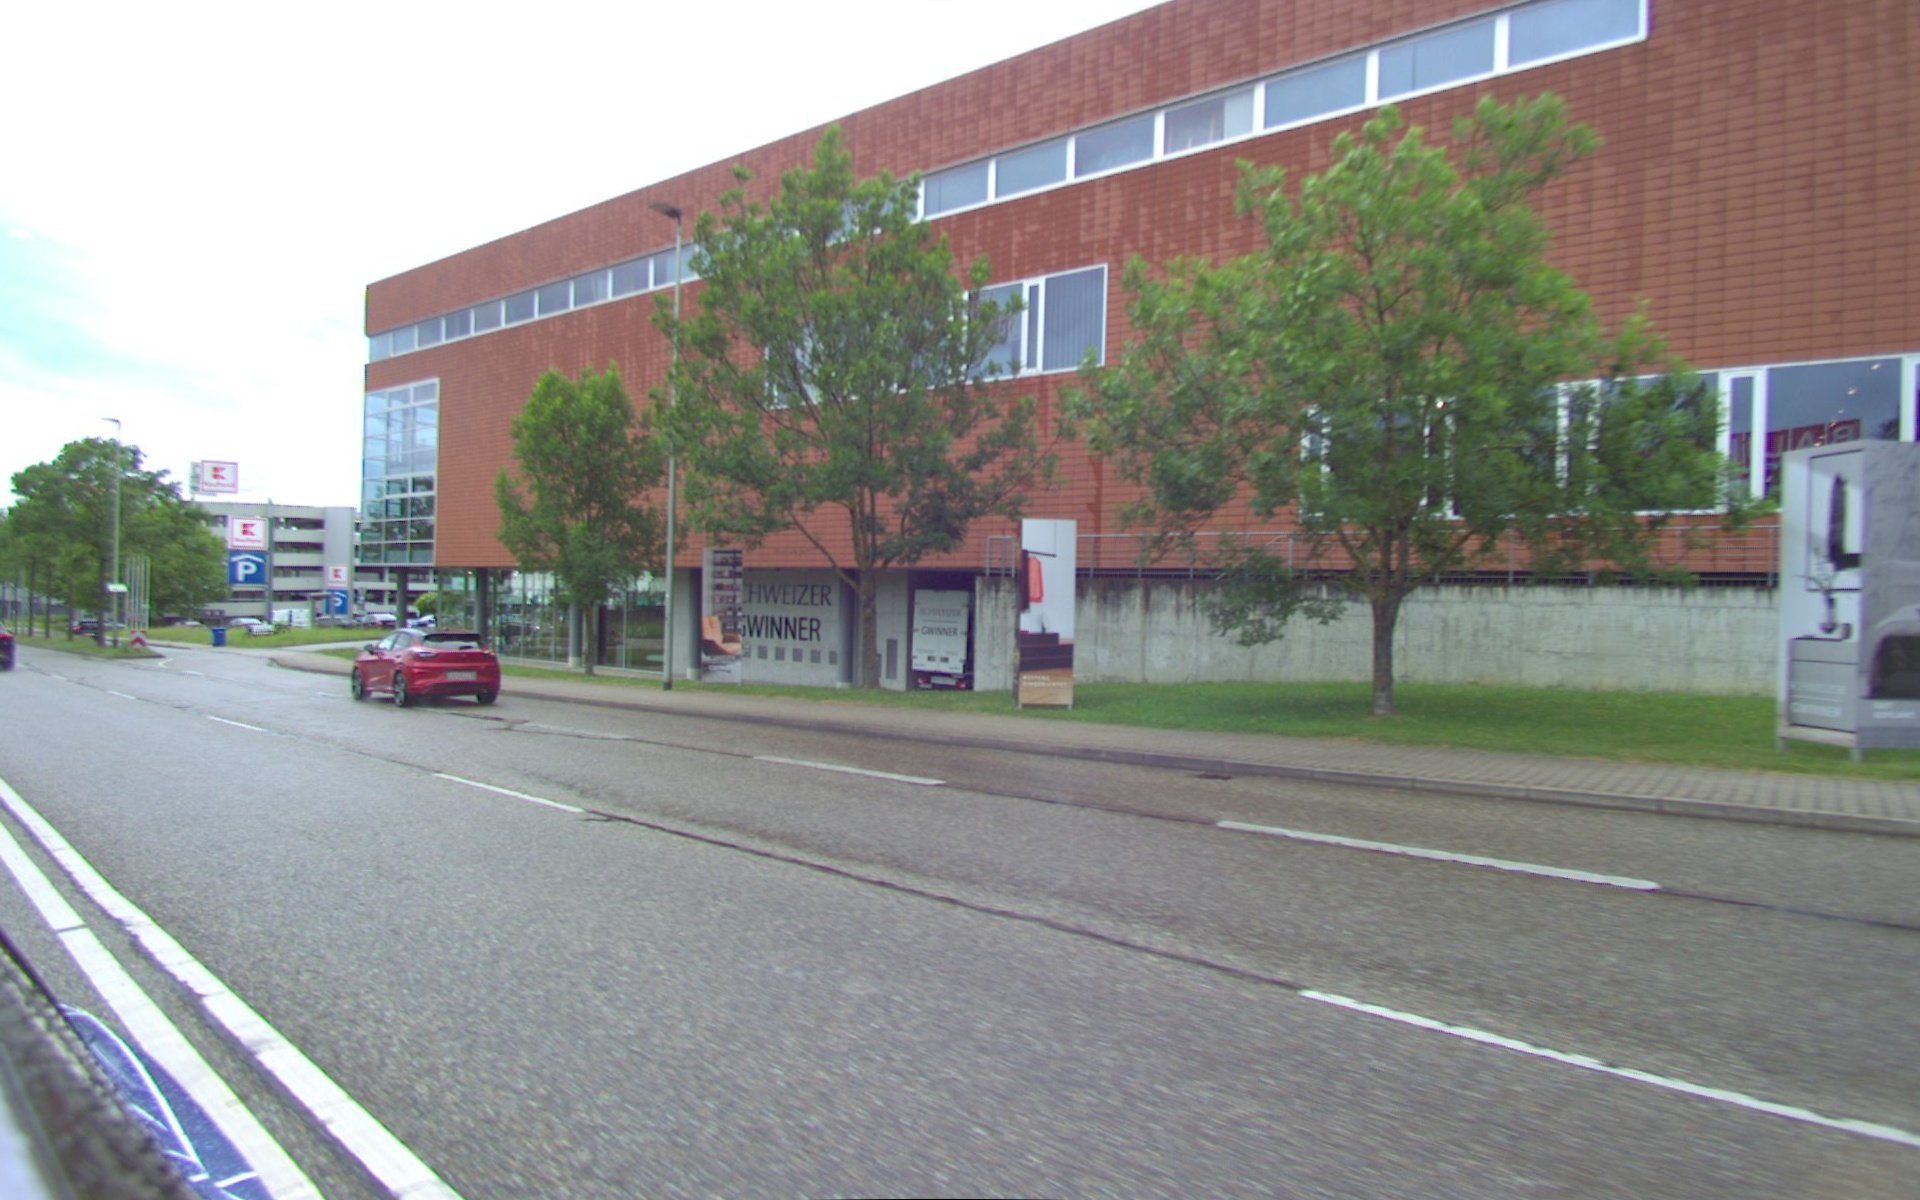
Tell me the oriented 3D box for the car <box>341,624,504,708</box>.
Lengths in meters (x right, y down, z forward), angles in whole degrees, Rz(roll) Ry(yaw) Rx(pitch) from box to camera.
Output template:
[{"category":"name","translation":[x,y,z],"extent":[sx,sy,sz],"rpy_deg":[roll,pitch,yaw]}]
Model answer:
[{"category":"car","translation":[-10.948,1.266,20.475],"extent":[4.217,1.518,1.657],"rpy_deg":[-1,-3,44]}]

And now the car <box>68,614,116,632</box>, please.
[{"category":"car","translation":[-92.348,2.424,107.706],"extent":[1.823,1.864,4.003],"rpy_deg":[0,-2,-4]}]

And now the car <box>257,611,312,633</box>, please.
[{"category":"car","translation":[-49.409,1.601,73.968],"extent":[4.428,1.630,1.813],"rpy_deg":[-1,-2,34]}]

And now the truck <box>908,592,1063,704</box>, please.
[{"category":"truck","translation":[0.991,1.511,33.377],"extent":[2.020,3.333,6.080],"rpy_deg":[0,-1,35]}]

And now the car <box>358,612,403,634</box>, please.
[{"category":"car","translation":[-36.880,1.457,64.358],"extent":[3.449,1.293,1.490],"rpy_deg":[0,0,42]}]

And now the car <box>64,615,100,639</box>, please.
[{"category":"car","translation":[-63.084,1.913,72.687],"extent":[1.806,1.630,4.004],"rpy_deg":[-1,0,-43]}]

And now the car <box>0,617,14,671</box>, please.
[{"category":"car","translation":[-30.303,1.292,30.729],"extent":[4.319,1.589,1.839],"rpy_deg":[-1,-3,41]}]

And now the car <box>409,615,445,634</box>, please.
[{"category":"car","translation":[-40.713,1.854,77.272],"extent":[3.498,1.433,1.419],"rpy_deg":[-1,-1,44]}]

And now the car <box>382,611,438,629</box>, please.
[{"category":"car","translation":[-48.747,1.786,89.718],"extent":[1.833,1.630,4.007],"rpy_deg":[-1,-2,41]}]

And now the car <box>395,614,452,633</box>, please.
[{"category":"car","translation":[-46.643,2.067,88.096],"extent":[1.833,1.630,4.007],"rpy_deg":[-1,-2,41]}]

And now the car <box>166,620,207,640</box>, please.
[{"category":"car","translation":[-65.512,2.508,85.670],"extent":[4.058,1.630,1.810],"rpy_deg":[-1,-2,39]}]

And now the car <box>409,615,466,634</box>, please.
[{"category":"car","translation":[-44.700,2.098,86.625],"extent":[1.833,1.630,4.007],"rpy_deg":[-1,-2,41]}]
